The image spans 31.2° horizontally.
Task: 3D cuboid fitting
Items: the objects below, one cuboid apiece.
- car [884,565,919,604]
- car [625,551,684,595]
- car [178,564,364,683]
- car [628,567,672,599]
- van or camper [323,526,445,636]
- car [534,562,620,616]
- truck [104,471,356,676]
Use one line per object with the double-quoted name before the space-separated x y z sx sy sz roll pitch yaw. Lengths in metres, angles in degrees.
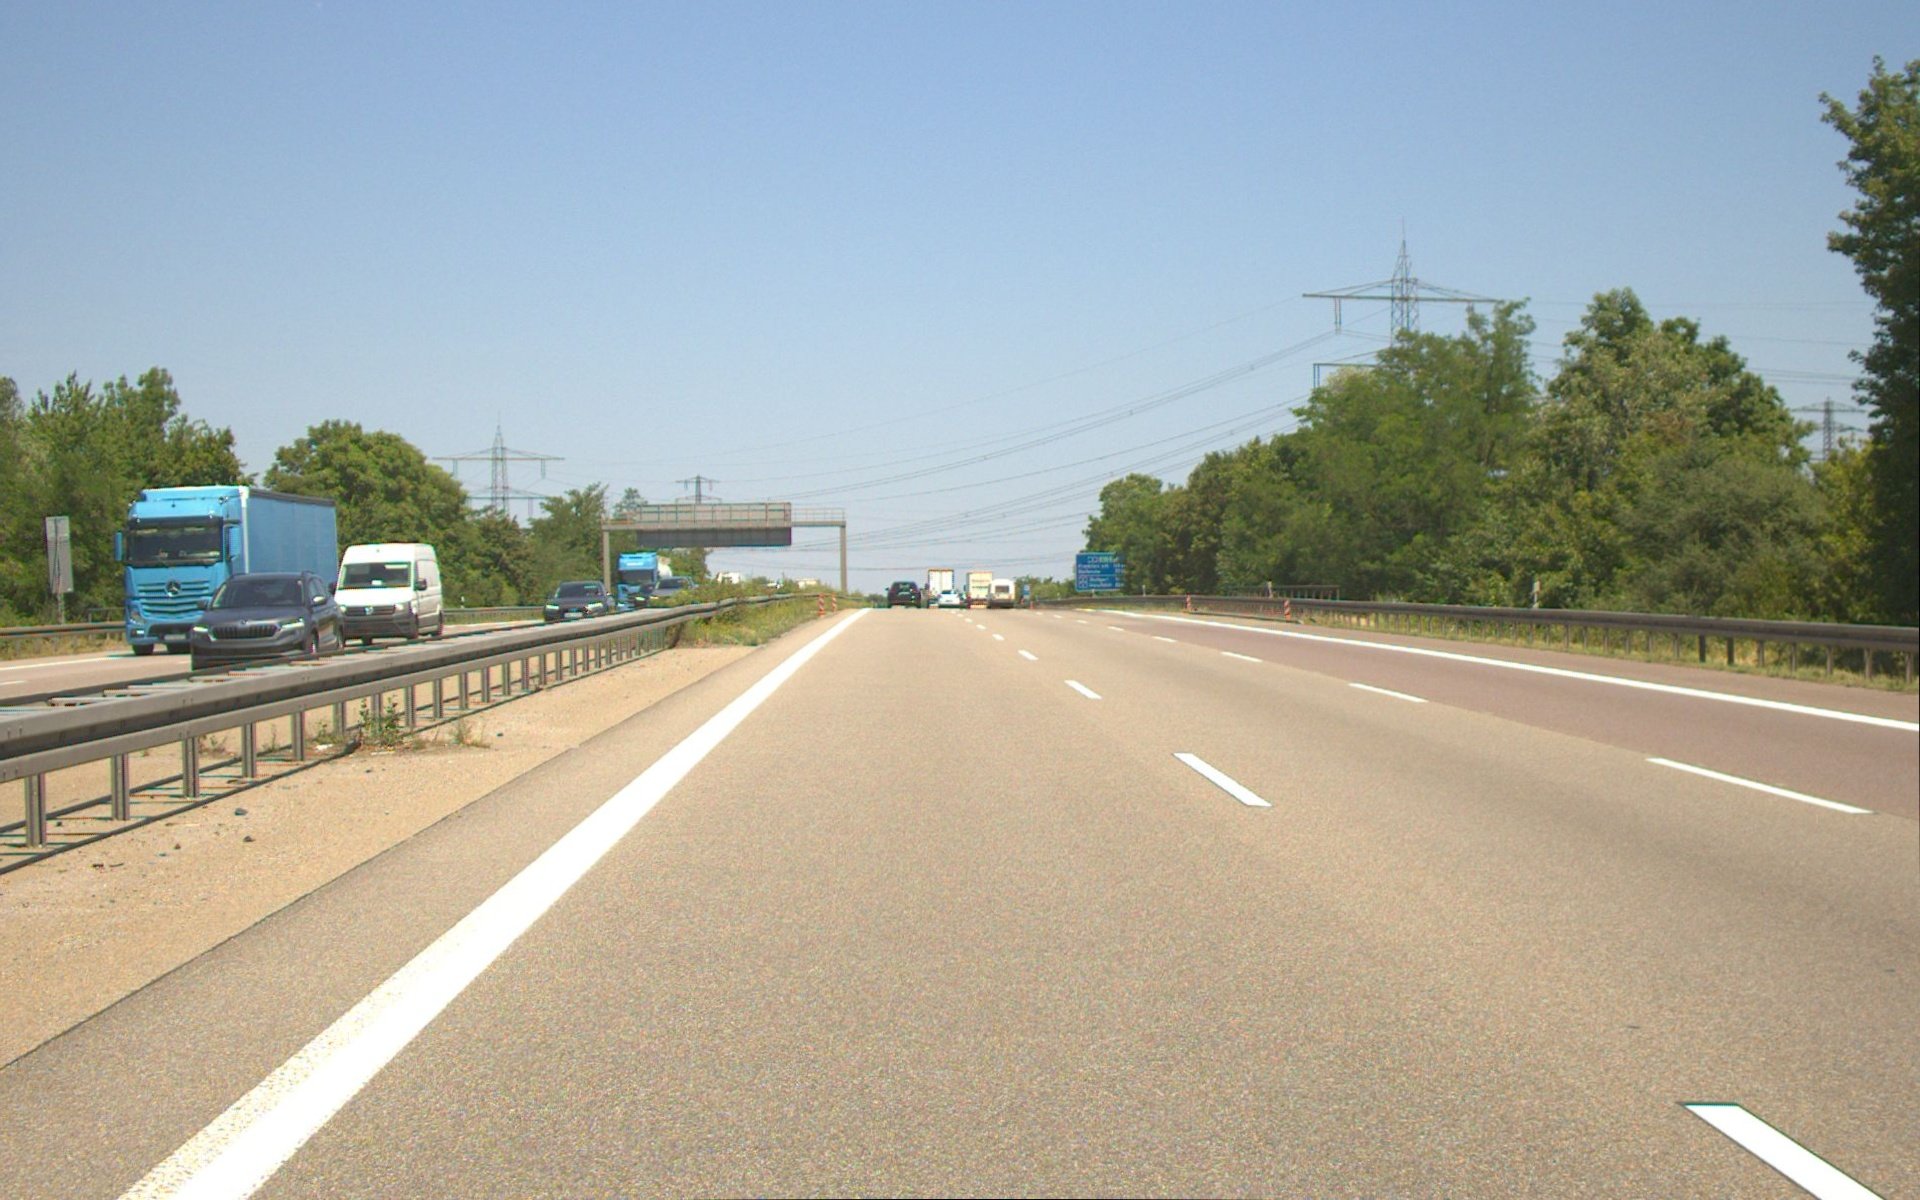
"car" -3.075 -0.810 181.717 1.791 2.007 3.887 1 0 -1
"car" -12.360 -1.110 139.322 1.993 1.724 5.108 -1 1 -1
"car" -10.577 0.324 53.096 1.993 1.684 4.408 -2 1 -1
"car" -15.869 -0.885 176.158 1.993 1.612 4.000 -1 0 -1
"van or camper" -14.409 -0.486 86.405 1.993 2.557 7.036 -3 1 -2
"car" -11.063 -0.330 99.675 1.993 1.479 4.787 -1 1 -1
"truck" -18.840 -0.711 90.220 3.225 4.704 16.861 -3 1 -1
